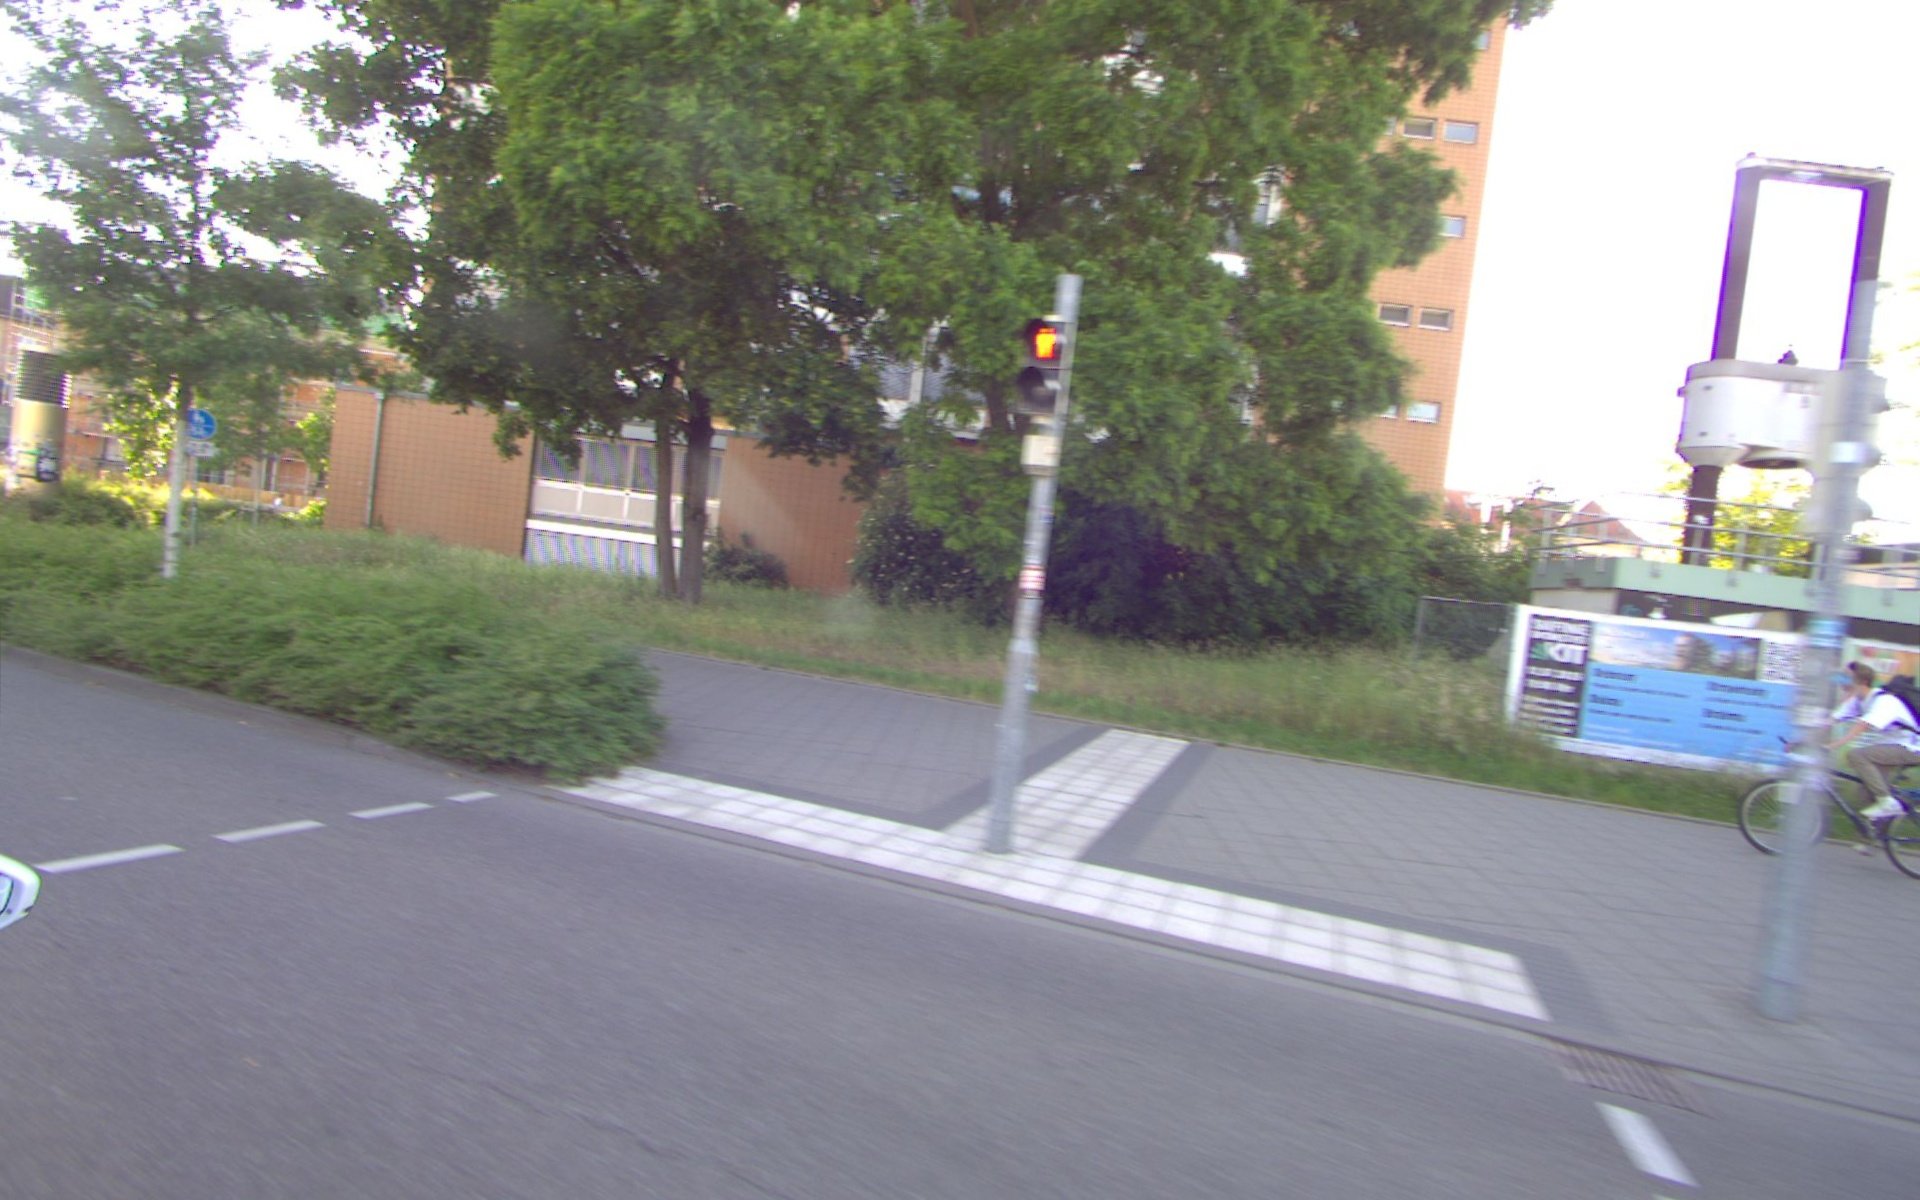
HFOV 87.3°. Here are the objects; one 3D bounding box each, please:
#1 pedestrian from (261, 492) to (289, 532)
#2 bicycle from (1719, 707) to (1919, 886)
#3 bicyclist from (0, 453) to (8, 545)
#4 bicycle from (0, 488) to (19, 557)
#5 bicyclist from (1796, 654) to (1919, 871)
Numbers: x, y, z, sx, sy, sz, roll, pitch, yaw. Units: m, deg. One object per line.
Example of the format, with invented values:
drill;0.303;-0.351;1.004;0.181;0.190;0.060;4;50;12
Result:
pedestrian;-32.818;-4.228;48.207;0.774;1.774;0.538;9;2;8
bicycle;7.588;1.647;8.265;1.921;1.181;0.642;7;4;22
bicyclist;-17.594;-1.858;17.754;0.960;1.638;0.721;8;2;22
bicycle;-17.647;-1.475;17.765;1.836;1.180;0.718;8;2;21
bicyclist;7.609;1.313;8.243;0.817;1.618;0.630;7;5;22
